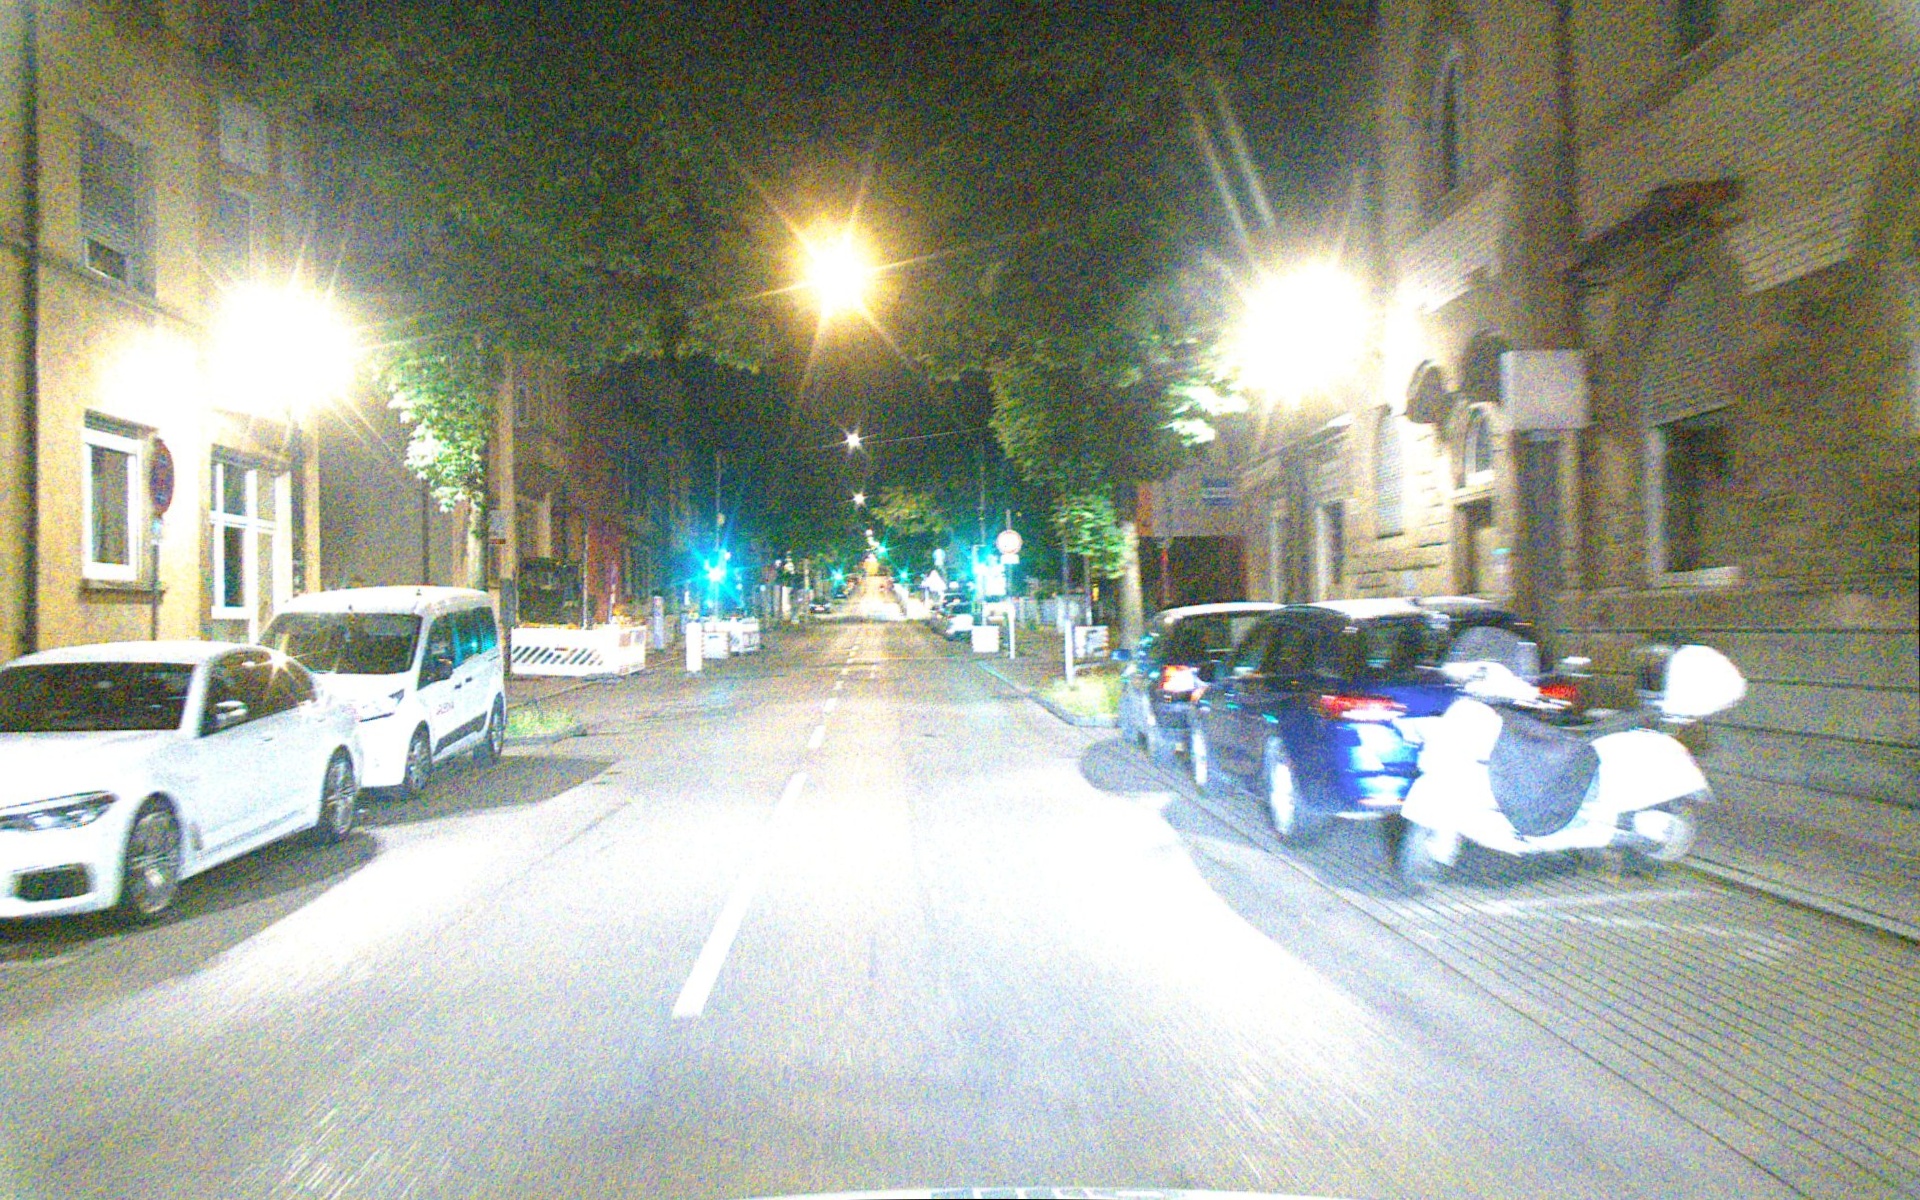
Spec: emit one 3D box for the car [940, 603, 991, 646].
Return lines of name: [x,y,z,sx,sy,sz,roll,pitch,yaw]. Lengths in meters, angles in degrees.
car: [0.181,0.918,64.577,1.705,1.503,3.998,-4,0,-2]

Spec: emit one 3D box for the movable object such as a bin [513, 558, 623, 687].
movable object such as a bin: [-8.684,0.472,36.878,1.540,2.672,3.908,-2,0,-2]

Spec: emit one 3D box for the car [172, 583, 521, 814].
car: [-5.719,0.817,16.121,1.845,1.875,4.811,-1,0,-4]

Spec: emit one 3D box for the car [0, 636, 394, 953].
car: [-5.260,1.008,10.467,1.802,1.475,4.879,-1,-1,-2]

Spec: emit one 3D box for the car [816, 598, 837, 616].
car: [-11.480,0.600,142.353,1.637,1.468,4.202,-1,1,-3]

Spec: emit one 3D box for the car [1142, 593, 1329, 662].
car: [6.383,0.649,38.550,3.935,1.447,1.850,-2,-2,-5]

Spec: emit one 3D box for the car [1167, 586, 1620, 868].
car: [2.730,0.730,11.554,1.698,1.527,4.463,-2,0,-4]

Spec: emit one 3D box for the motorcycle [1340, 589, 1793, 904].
motorcycle: [3.171,0.717,8.734,2.017,1.430,0.921,-3,0,-12]

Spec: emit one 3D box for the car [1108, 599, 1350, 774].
car: [2.551,0.769,16.574,1.701,1.479,3.999,-2,0,-1]

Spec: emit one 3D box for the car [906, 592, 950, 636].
car: [-1.484,0.636,75.524,1.701,1.887,4.312,-2,0,-4]
